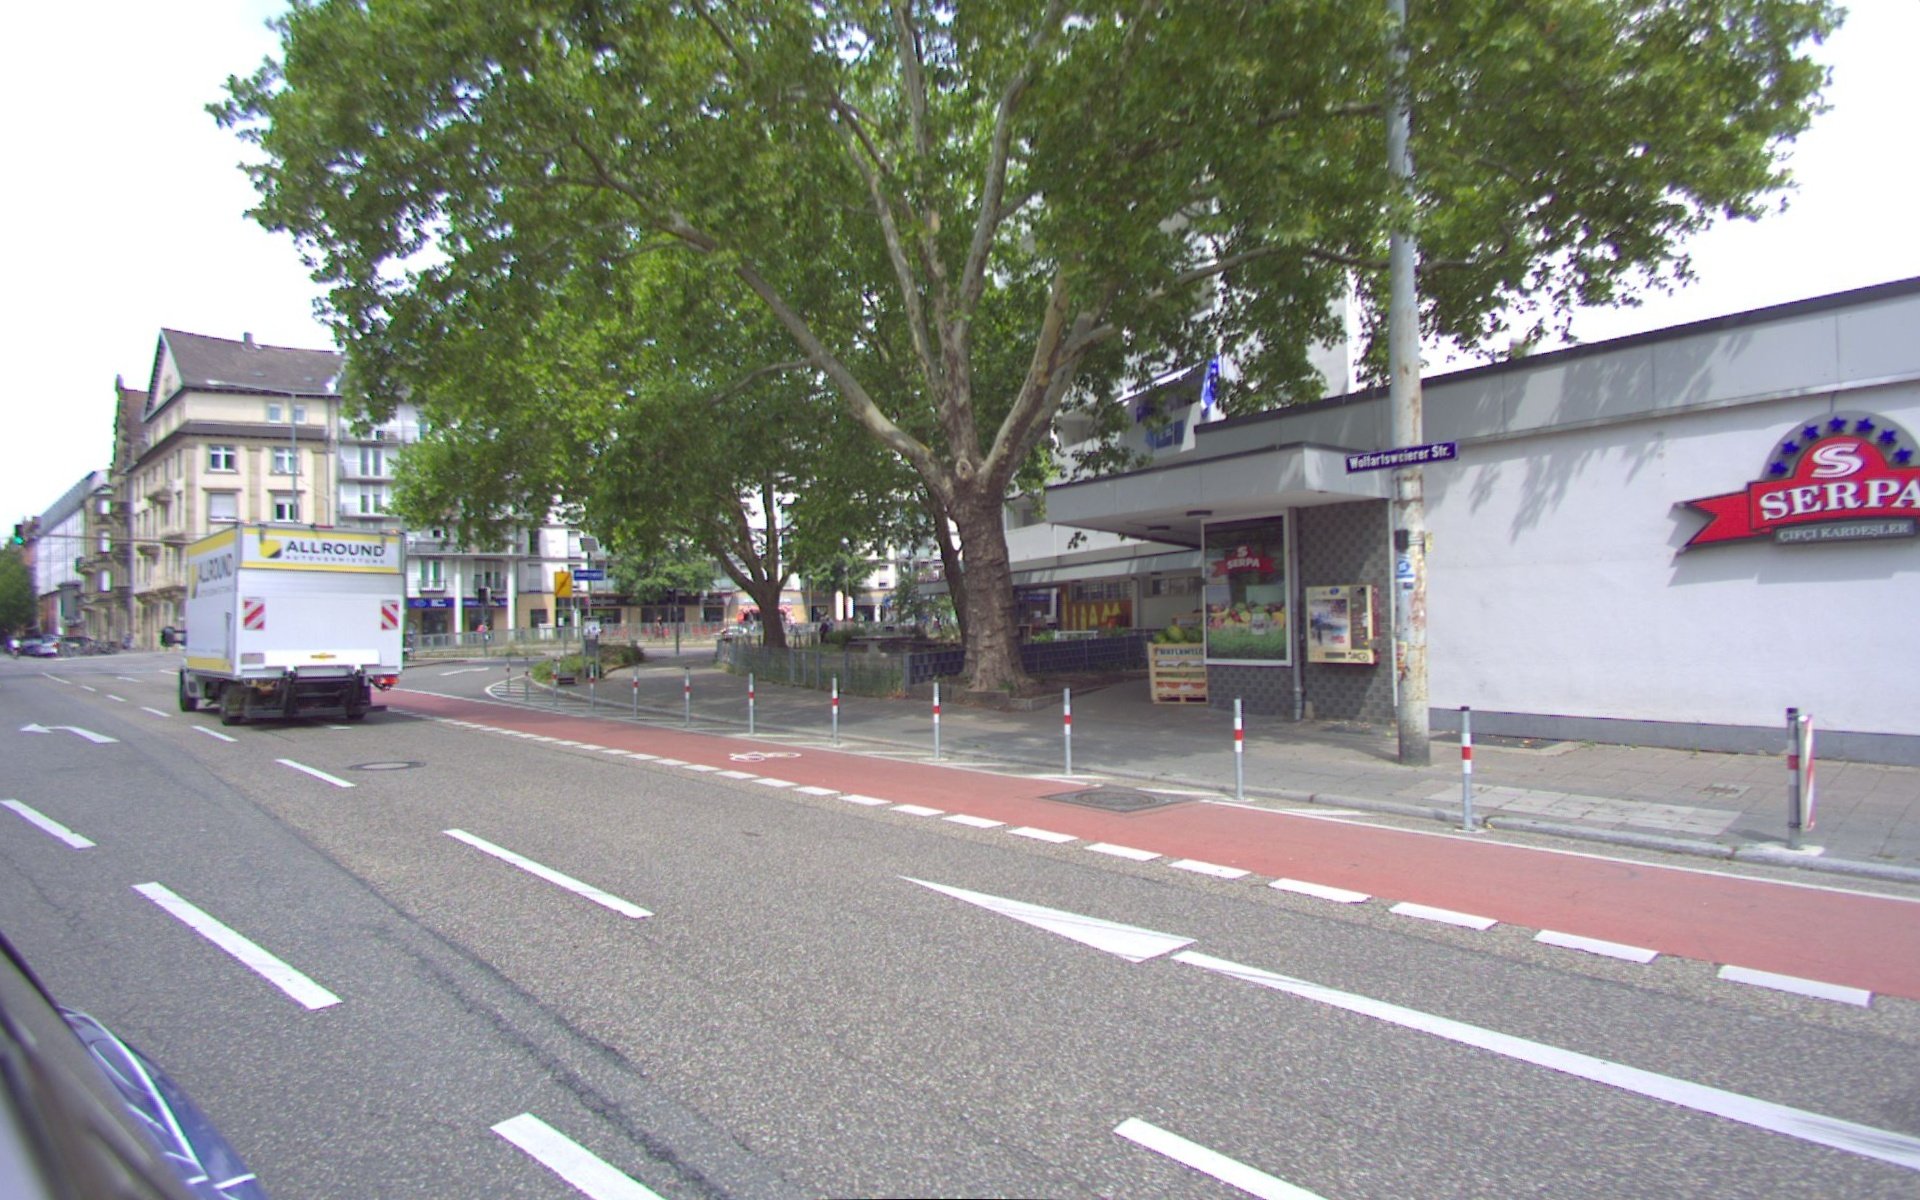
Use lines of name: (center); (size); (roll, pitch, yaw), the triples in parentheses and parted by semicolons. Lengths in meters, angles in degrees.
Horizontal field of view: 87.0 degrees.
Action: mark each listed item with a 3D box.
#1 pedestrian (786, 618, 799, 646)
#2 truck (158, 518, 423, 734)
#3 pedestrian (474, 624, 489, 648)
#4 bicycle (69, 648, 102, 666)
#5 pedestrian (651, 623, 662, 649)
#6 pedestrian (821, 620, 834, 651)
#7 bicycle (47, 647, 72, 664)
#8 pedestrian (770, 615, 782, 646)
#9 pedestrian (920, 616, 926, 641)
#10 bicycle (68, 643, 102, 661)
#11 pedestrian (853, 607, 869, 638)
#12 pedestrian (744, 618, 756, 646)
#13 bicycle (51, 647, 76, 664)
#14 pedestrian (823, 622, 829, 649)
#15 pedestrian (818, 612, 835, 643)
pedestrian: (-12.407, 2.391, 74.874); (0.744, 2.029, 0.763); (0, -2, -22)
truck: (-12.154, 0.507, 18.075); (2.512, 3.131, 7.024); (3, -4, -45)
pedestrian: (-31.672, 2.400, 66.987); (0.824, 1.564, 0.870); (-1, -2, -23)
bicycle: (-64.307, 4.175, 74.421); (0.397, 1.201, 1.806); (-4, -1, 42)
pedestrian: (-18.737, 2.217, 62.523); (0.588, 1.564, 0.672); (0, -2, -24)
pedestrian: (-7.187, 1.928, 54.944); (0.497, 1.636, 0.698); (0, -2, -25)
bicycle: (-66.851, 4.113, 75.146); (0.397, 1.201, 1.329); (-3, 0, 36)
pedestrian: (-13.816, 2.300, 76.013); (0.744, 2.267, 0.763); (0, -2, -22)
pedestrian: (-2.871, 2.250, 79.127); (0.307, 1.969, 0.326); (0, -2, -33)
bicycle: (-64.942, 3.839, 75.140); (0.397, 1.201, 1.798); (-3, 1, 39)
pedestrian: (-6.641, 1.515, 67.920); (0.858, 2.029, 0.855); (0, -2, -24)
pedestrian: (-15.233, 2.295, 73.332); (0.744, 2.029, 0.763); (0, -2, -22)
bicycle: (-67.191, 4.167, 75.849); (0.397, 1.201, 1.327); (-3, 0, 41)
pedestrian: (-10.224, 2.691, 77.264); (0.363, 2.029, 0.503); (0, -2, -23)
pedestrian: (-7.172, 1.475, 54.369); (0.673, 1.648, 0.698); (0, -2, -25)
